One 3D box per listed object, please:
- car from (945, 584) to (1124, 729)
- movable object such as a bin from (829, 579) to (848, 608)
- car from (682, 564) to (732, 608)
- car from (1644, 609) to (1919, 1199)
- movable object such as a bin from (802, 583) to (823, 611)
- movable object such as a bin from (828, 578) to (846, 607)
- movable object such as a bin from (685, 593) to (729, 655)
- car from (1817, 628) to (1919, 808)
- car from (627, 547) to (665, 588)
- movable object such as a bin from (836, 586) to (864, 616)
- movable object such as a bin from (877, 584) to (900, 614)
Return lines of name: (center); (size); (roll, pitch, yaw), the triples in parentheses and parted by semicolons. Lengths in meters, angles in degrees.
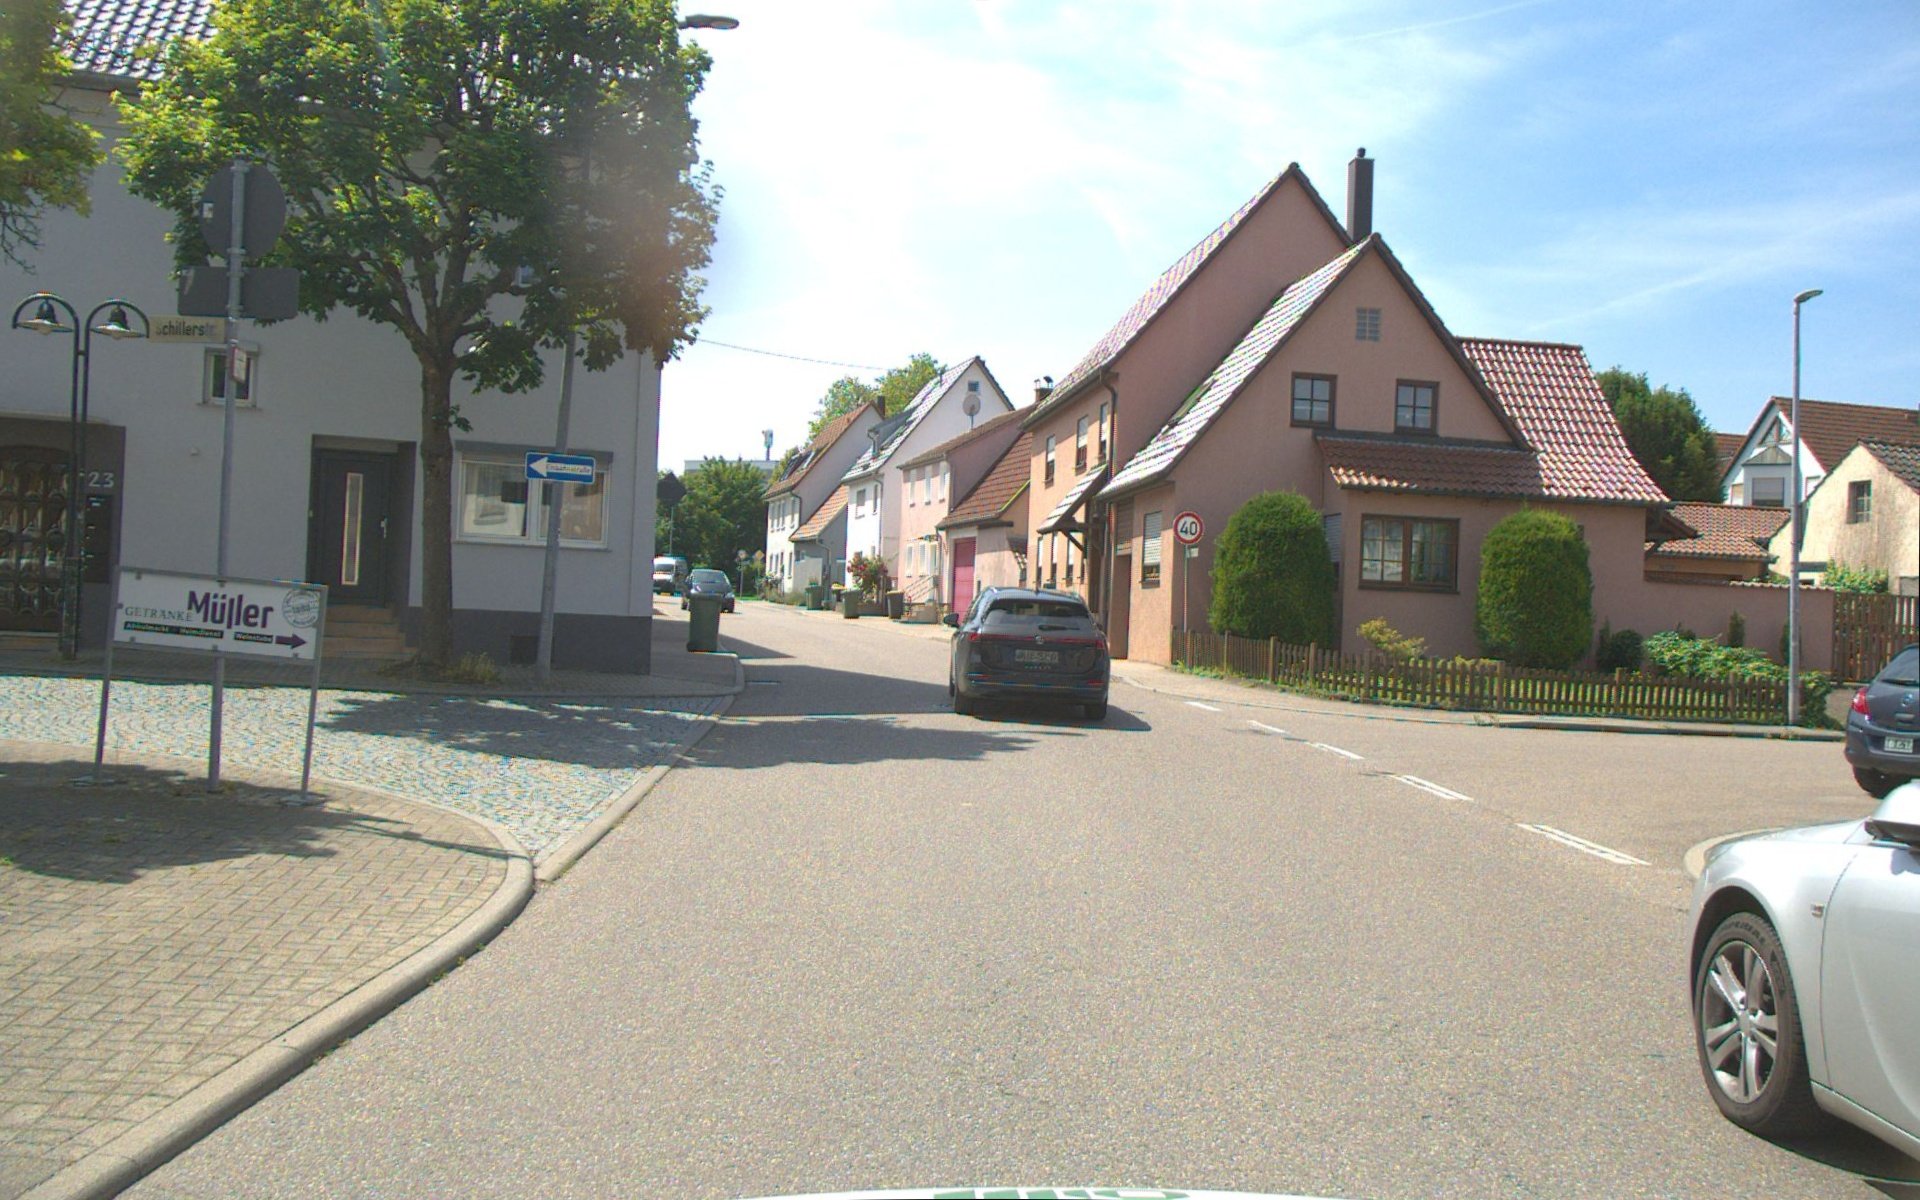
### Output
car: (0.788, 0.591, 20.217); (1.804, 1.444, 4.681); (1, 1, -2)
movable object such as a bin: (-5.275, -0.301, 71.768); (0.654, 1.215, 0.585); (3, 0, -16)
car: (-9.812, -0.550, 63.943); (1.767, 1.582, 4.061); (1, 1, -10)
car: (3.264, 0.851, 3.449); (1.749, 1.467, 4.336); (3, 1, -1)
movable object such as a bin: (-6.473, -0.148, 72.475); (0.668, 1.175, 0.816); (3, 0, -19)
movable object such as a bin: (-5.406, -0.322, 72.566); (0.654, 1.215, 0.657); (3, 0, -16)
movable object such as a bin: (-4.638, 0.432, 30.341); (0.740, 1.078, 0.678); (3, 1, -9)
car: (10.058, 1.112, 15.055); (3.743, 1.514, 1.881); (2, 0, -17)
car: (-21.230, -2.209, 112.097); (2.074, 2.607, 5.818); (2, 1, -7)
movable object such as a bin: (-4.217, 0.019, 63.337); (0.863, 1.093, 0.868); (-2, 2, -19)
movable object such as a bin: (-2.719, -0.039, 62.868); (0.668, 1.068, 0.830); (-2, 2, -19)
